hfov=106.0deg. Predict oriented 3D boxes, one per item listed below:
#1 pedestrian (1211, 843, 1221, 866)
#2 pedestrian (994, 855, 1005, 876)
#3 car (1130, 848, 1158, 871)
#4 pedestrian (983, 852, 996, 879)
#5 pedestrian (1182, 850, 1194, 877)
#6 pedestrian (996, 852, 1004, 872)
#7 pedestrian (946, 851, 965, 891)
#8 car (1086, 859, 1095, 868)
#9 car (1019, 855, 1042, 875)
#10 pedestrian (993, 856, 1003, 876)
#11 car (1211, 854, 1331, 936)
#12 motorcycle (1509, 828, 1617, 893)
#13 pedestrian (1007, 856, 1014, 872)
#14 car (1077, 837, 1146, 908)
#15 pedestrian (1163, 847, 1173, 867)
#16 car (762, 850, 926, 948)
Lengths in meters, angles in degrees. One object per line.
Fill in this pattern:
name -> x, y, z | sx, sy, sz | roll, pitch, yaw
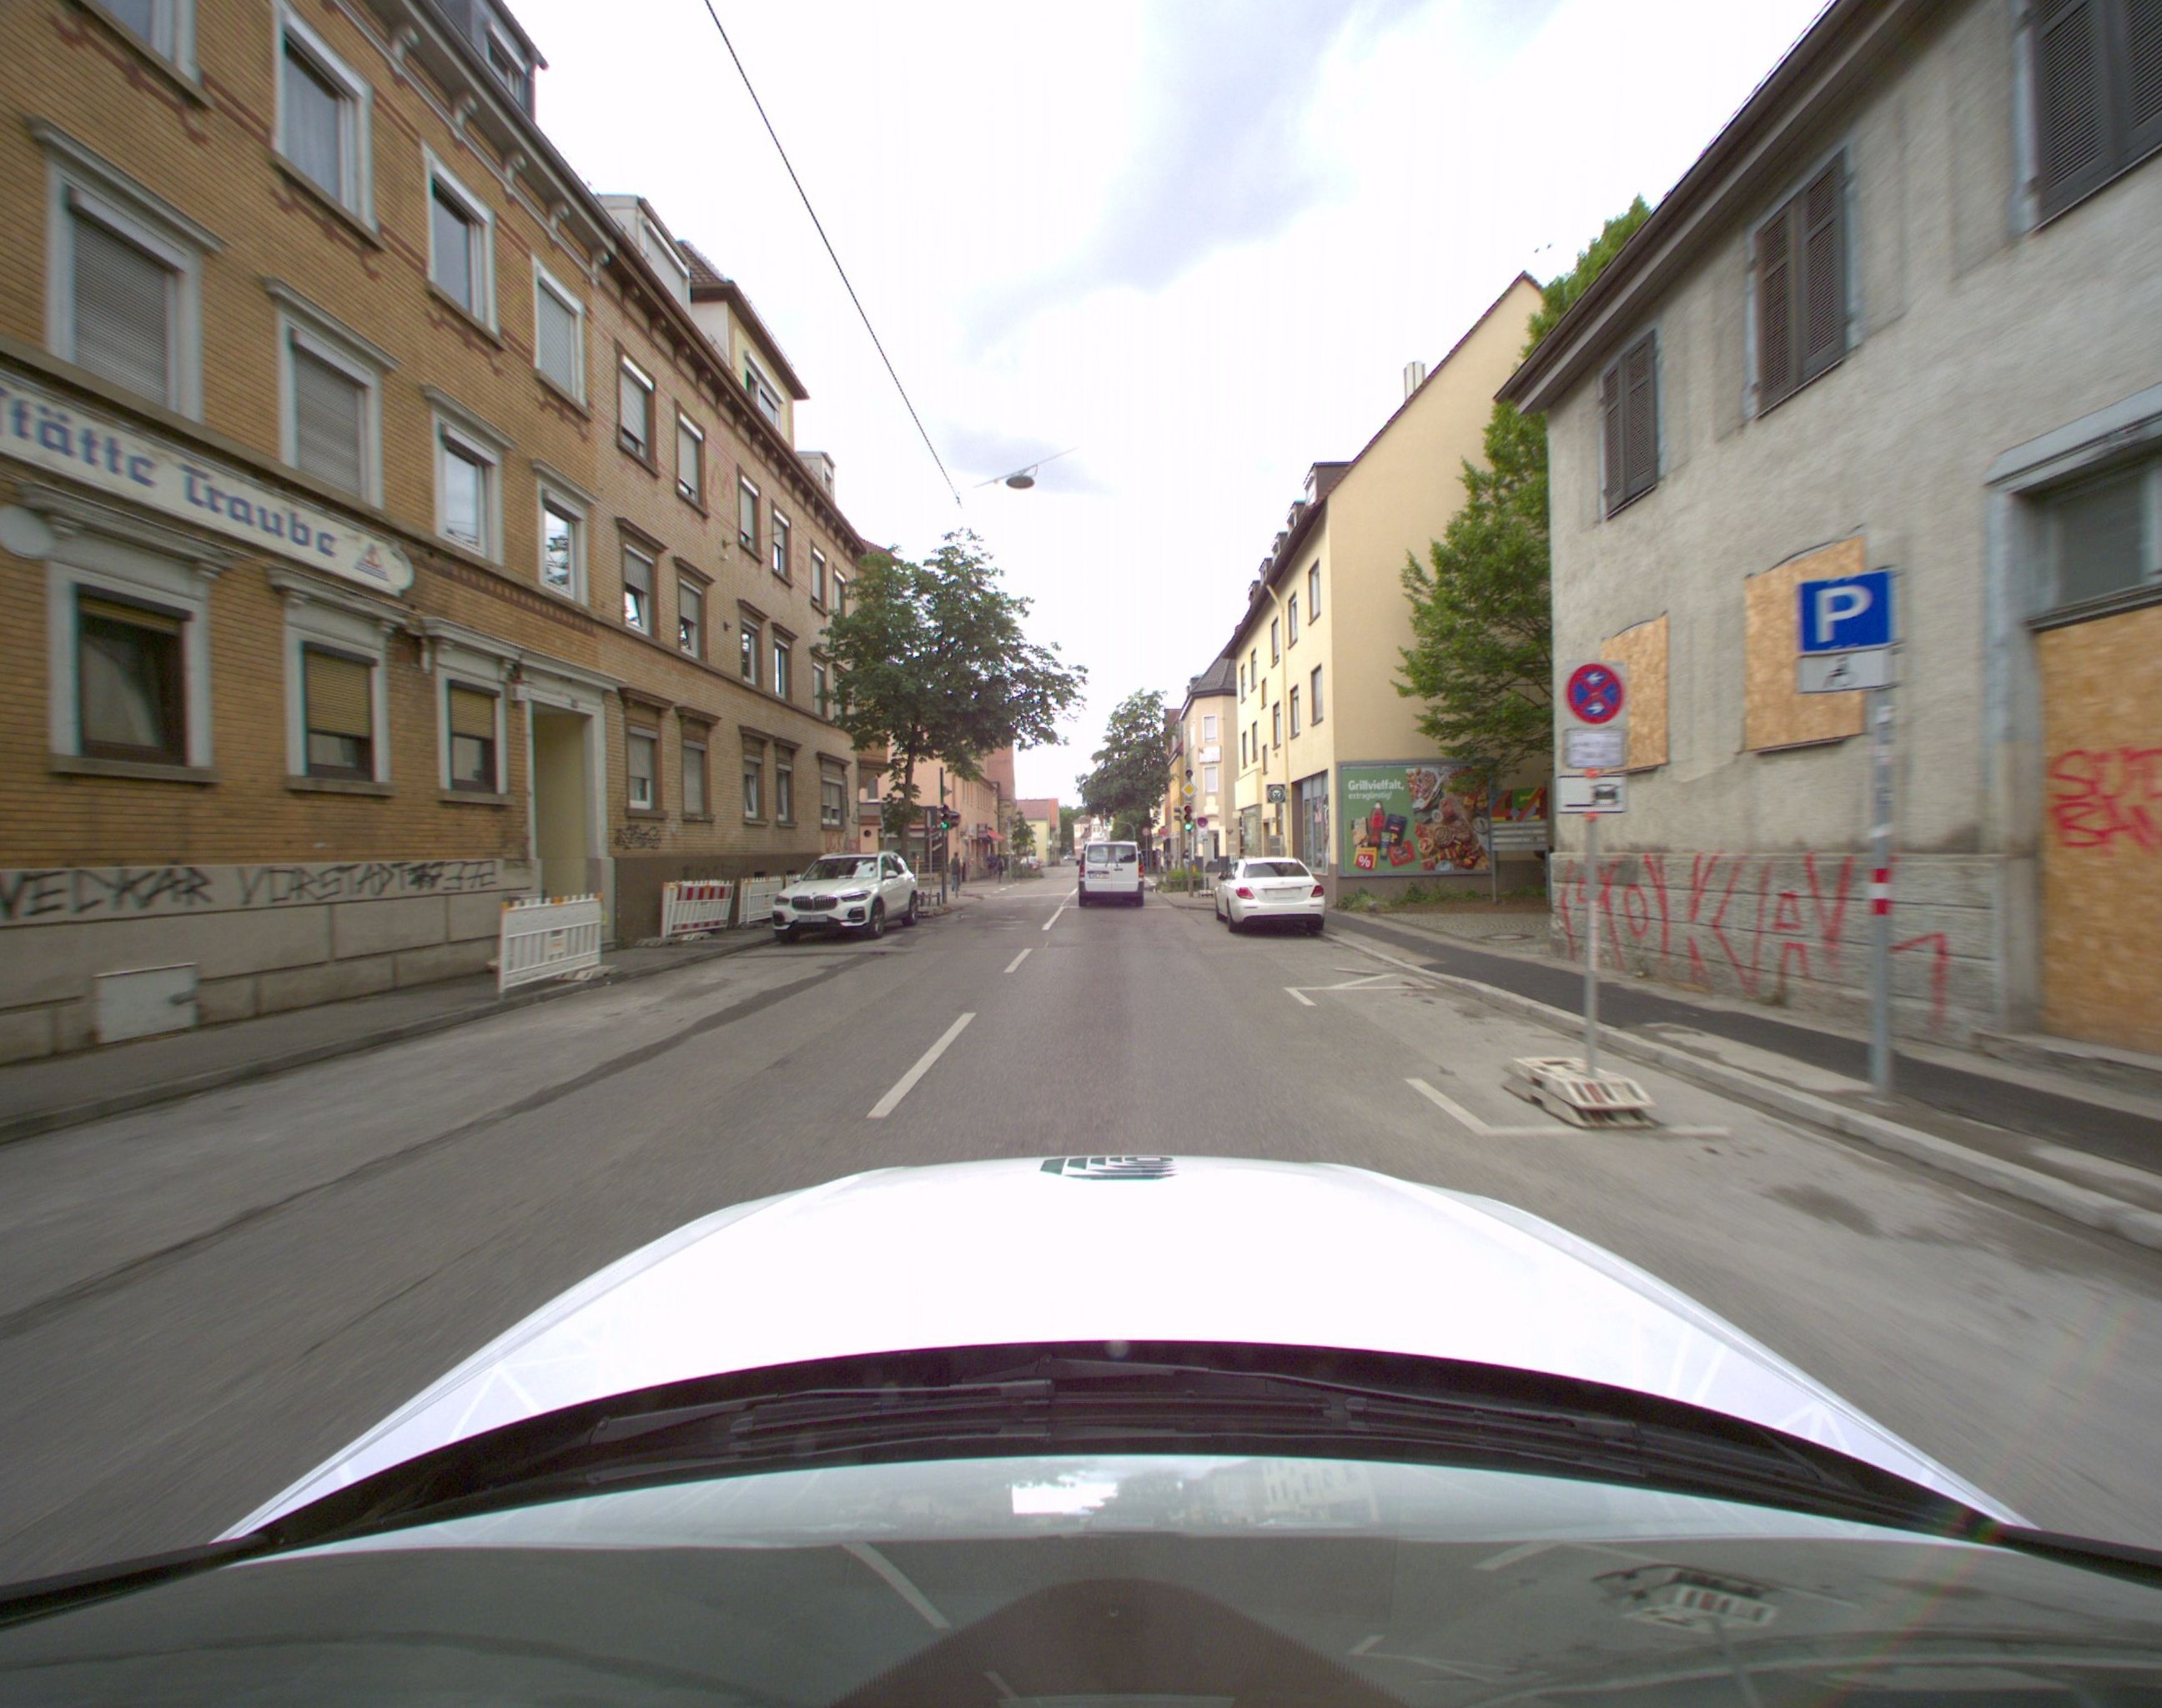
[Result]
pedestrian -> 9.037, 0.049, 54.500 | 0.565, 1.560, 0.521 | -1, -1, 0
pedestrian -> -6.198, 0.856, 62.190 | 0.736, 1.535, 0.982 | -1, 0, -1
car -> 5.091, 0.442, 66.174 | 1.814, 1.781, 4.400 | -1, -1, -1
pedestrian -> -5.963, 0.719, 52.992 | 0.736, 1.718, 1.156 | -1, 0, -2
pedestrian -> 6.663, 0.614, 50.727 | 0.612, 1.653, 0.982 | -1, 0, 0
pedestrian -> -7.672, 0.737, 77.114 | 0.569, 1.848, 0.697 | 1, -1, 1
pedestrian -> -5.694, 0.748, 36.842 | 0.737, 1.754, 0.981 | -1, 0, -4
car -> 2.182, 2.223, 186.988 | 1.929, 2.014, 3.998 | -1, -1, -1
car -> -4.401, 0.944, 71.490 | 1.697, 1.574, 4.450 | -3, 0, 0
pedestrian -> -6.984, 1.022, 68.508 | 0.730, 1.628, 0.756 | -1, 0, -9
car -> 3.854, 0.754, 17.291 | 1.759, 1.466, 4.789 | -1, 0, 5
motorcycle -> 11.265, 0.150, 19.070 | 1.987, 1.201, 0.674 | -9, -1, -1
pedestrian -> -6.700, 0.956, 77.487 | 0.569, 1.554, 0.697 | 0, -1, 1
car -> 0.888, 0.520, 24.501 | 1.866, 1.912, 4.001 | -1, 0, 1
pedestrian -> 7.290, 0.234, 68.046 | 0.699, 1.649, 0.888 | -3, 0, 0
car -> -4.850, 0.831, 17.447 | 1.884, 1.712, 4.743 | -3, 0, 2
